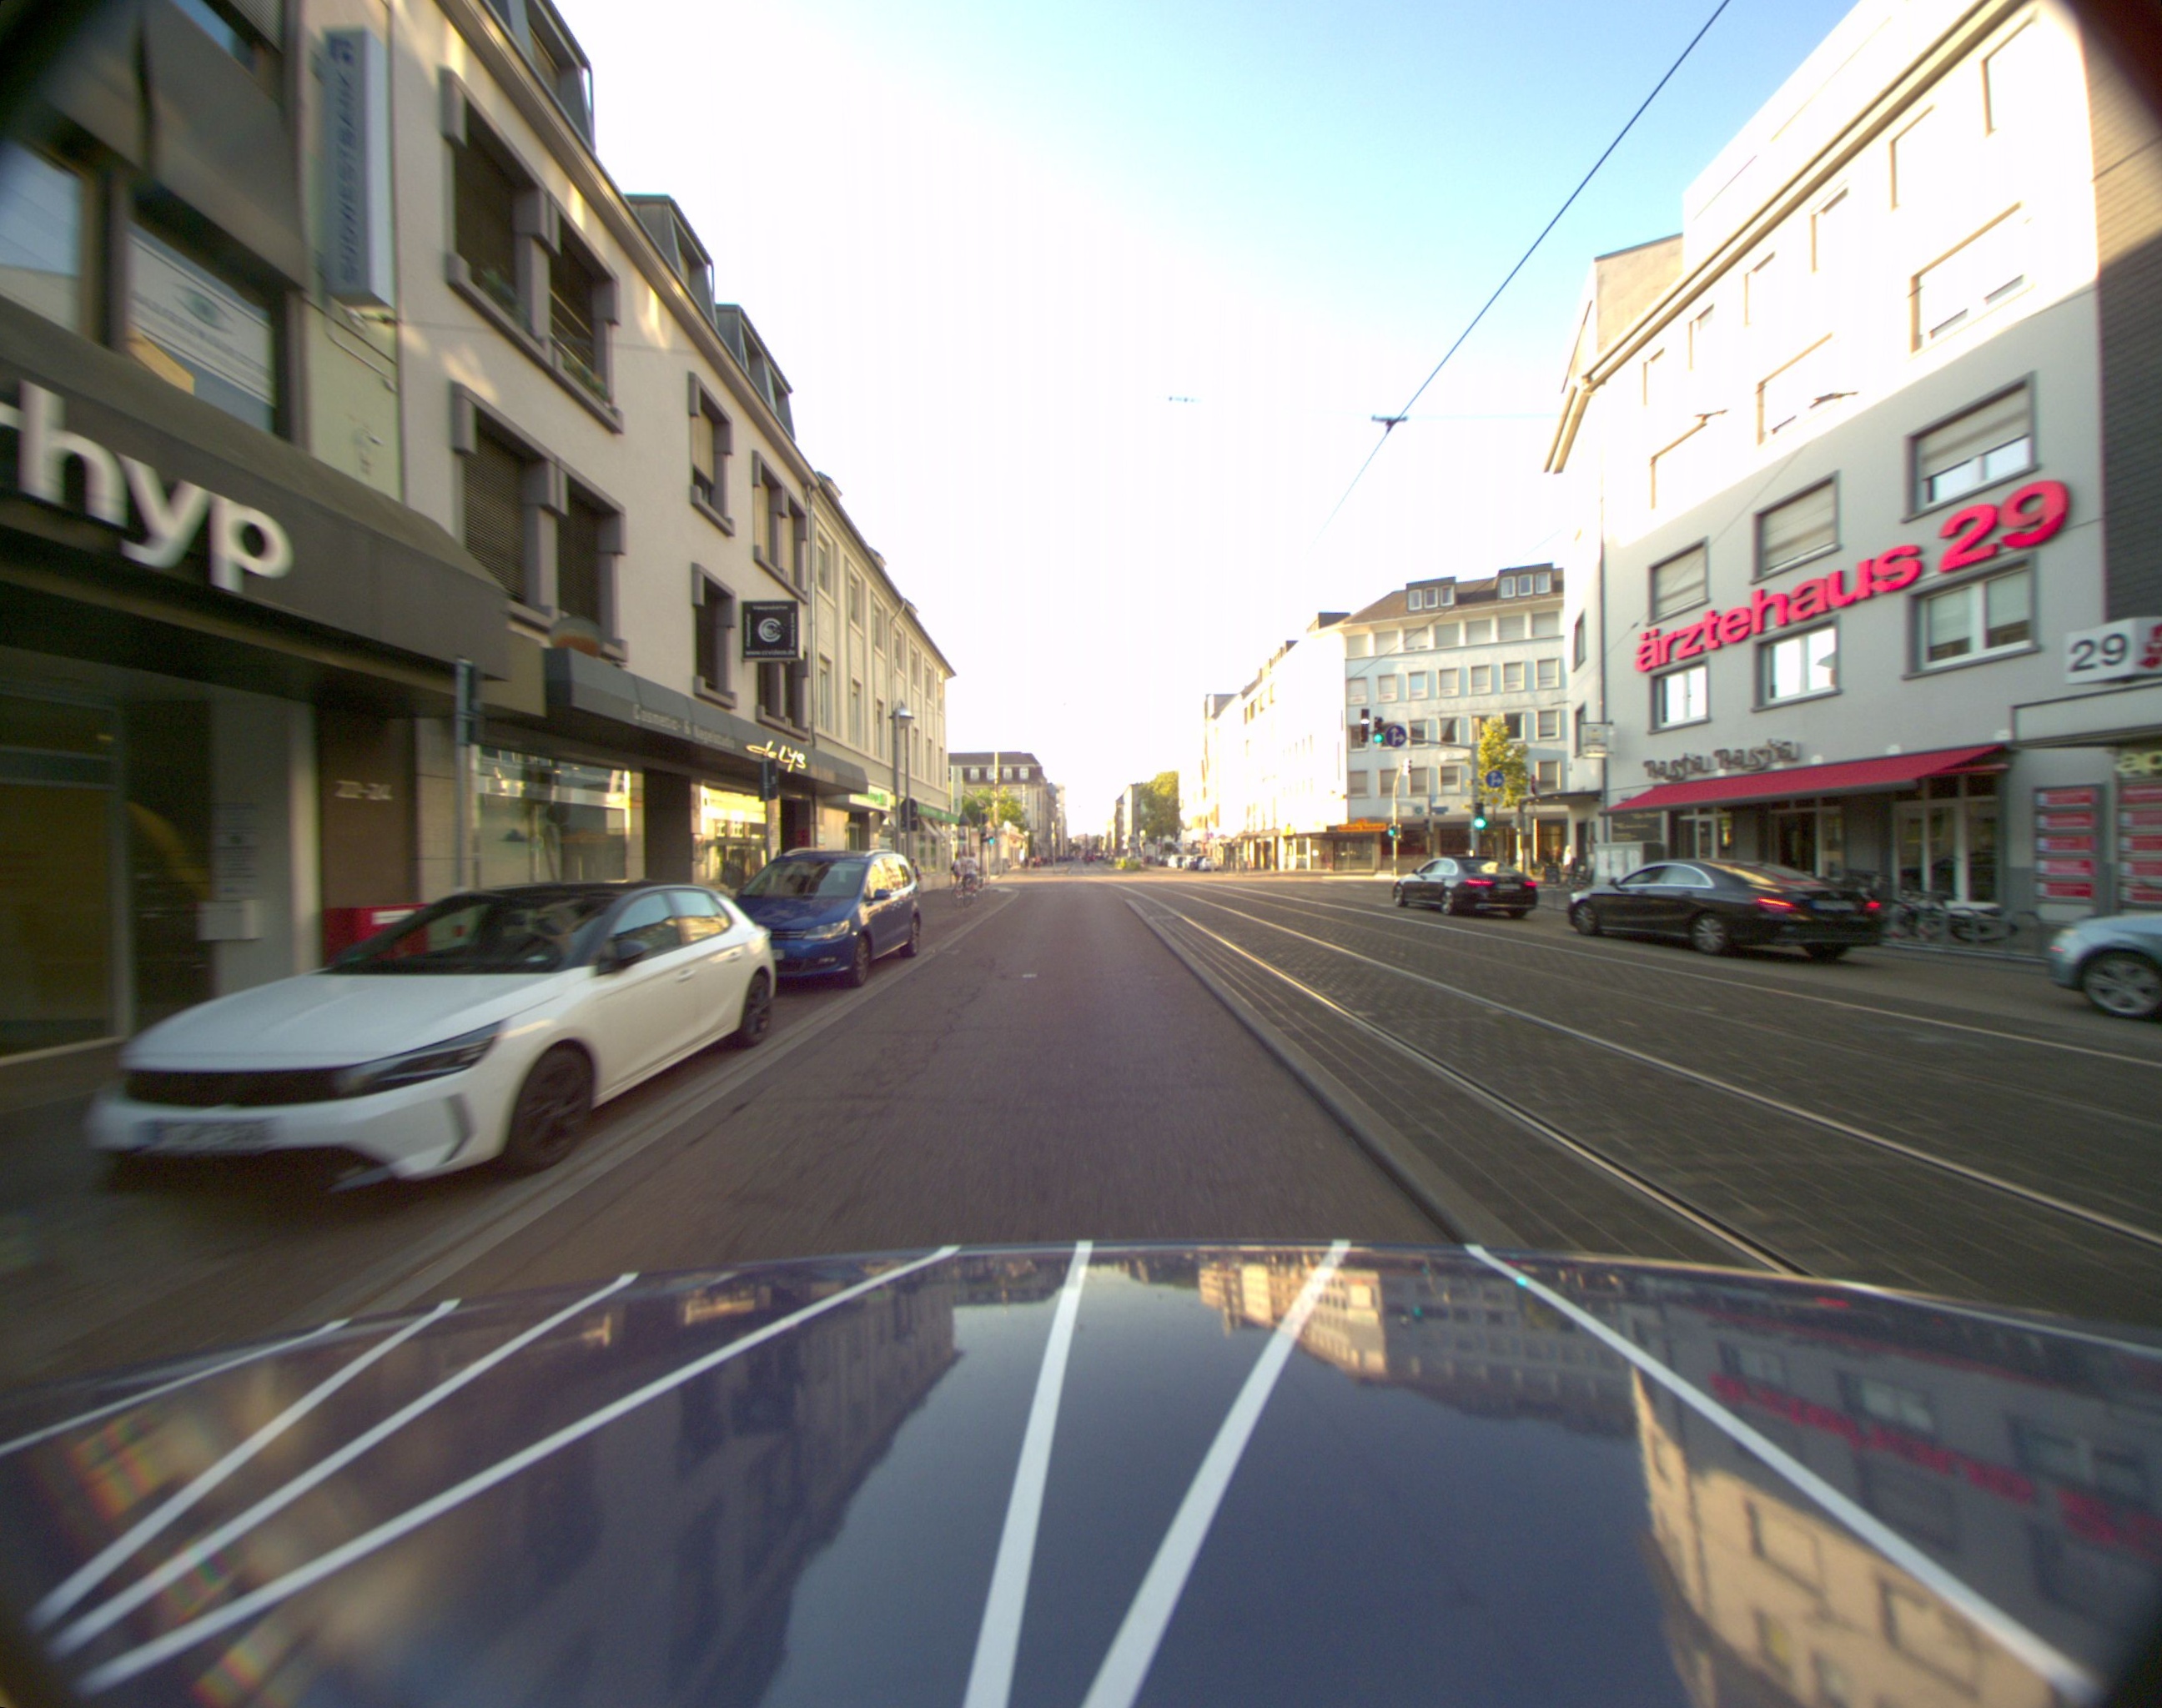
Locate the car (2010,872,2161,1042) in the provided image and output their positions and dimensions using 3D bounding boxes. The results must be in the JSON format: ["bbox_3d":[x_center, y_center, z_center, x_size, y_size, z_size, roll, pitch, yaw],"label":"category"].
[{"bbox_3d":[9.811,0.886,5.269,1.762,1.378,4.061,1,0,1],"label":"car"}]

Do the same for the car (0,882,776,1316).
[{"bbox_3d":[-3.610,1.014,4.836,1.770,1.476,3.872,1,0,0],"label":"car"}]

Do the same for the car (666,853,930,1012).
[{"bbox_3d":[-3.564,0.861,10.627,1.919,1.707,4.563,1,0,1],"label":"car"}]

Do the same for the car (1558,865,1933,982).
[{"bbox_3d":[9.899,0.912,11.962,1.919,1.378,4.563,1,0,1],"label":"car"}]

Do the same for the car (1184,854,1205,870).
[{"bbox_3d":[12.391,0.842,82.992,1.847,1.625,4.001,-1,0,3],"label":"car"}]

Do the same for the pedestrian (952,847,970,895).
[{"bbox_3d":[-4.833,0.687,30.596,0.640,1.917,0.529,-1,1,-12],"label":"pedestrian"}]

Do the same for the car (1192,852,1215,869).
[{"bbox_3d":[12.259,0.662,76.230,1.847,1.625,4.001,-1,0,3],"label":"car"}]

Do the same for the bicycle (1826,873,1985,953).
[{"bbox_3d":[13.316,0.938,12.296,1.861,1.128,0.607,-4,1,0],"label":"bicycle"}]

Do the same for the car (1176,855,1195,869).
[{"bbox_3d":[12.408,0.960,90.618,1.847,1.625,4.001,-1,0,3],"label":"car"}]

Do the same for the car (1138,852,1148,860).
[{"bbox_3d":[12.621,0.379,155.432,1.847,1.625,4.001,-1,0,3],"label":"car"}]

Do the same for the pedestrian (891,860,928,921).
[{"bbox_3d":[-4.446,0.936,19.766,0.699,1.539,0.870,-1,1,2],"label":"pedestrian"}]

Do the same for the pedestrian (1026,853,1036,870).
[{"bbox_3d":[-4.986,0.762,75.657,0.806,1.603,0.993,-2,1,0],"label":"pedestrian"}]

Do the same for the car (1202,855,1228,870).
[{"bbox_3d":[12.630,0.806,71.811,1.847,1.287,4.001,-1,0,3],"label":"car"}]

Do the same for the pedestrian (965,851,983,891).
[{"bbox_3d":[-4.745,0.743,33.769,0.671,1.768,0.647,-1,1,1],"label":"pedestrian"}]

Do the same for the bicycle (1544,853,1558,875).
[{"bbox_3d":[26.236,0.550,42.465,0.469,1.196,1.922,-1,0,26],"label":"bicycle"}]

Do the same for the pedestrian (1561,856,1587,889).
[{"bbox_3d":[28.350,1.056,43.715,0.808,1.876,0.991,-3,2,-38],"label":"pedestrian"}]

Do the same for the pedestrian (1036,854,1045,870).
[{"bbox_3d":[-4.019,0.790,75.648,0.806,1.603,0.993,-2,1,0],"label":"pedestrian"}]

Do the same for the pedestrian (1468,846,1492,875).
[{"bbox_3d":[23.741,0.393,45.182,0.808,1.716,0.991,-3,2,-38],"label":"pedestrian"}]

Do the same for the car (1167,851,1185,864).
[{"bbox_3d":[11.964,0.423,96.022,1.847,1.625,4.001,-1,0,3],"label":"car"}]

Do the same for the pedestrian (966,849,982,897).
[{"bbox_3d":[-4.241,0.747,30.198,0.576,1.917,0.496,-1,1,-11],"label":"pedestrian"}]

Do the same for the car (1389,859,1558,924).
[{"bbox_3d":[9.644,0.841,19.161,1.919,1.378,4.563,1,0,1],"label":"car"}]

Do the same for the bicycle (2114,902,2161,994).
[{"bbox_3d":[13.181,1.038,8.751,1.861,0.978,0.492,-4,1,0],"label":"bicycle"}]

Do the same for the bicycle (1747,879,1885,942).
[{"bbox_3d":[13.243,1.008,13.718,1.861,0.978,0.607,-4,1,0],"label":"bicycle"}]

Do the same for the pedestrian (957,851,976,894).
[{"bbox_3d":[-4.738,0.762,31.519,0.639,1.735,0.699,-1,1,2],"label":"pedestrian"}]

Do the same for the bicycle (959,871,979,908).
[{"bbox_3d":[-3.594,1.118,24.437,0.479,1.083,1.647,1,1,-3],"label":"bicycle"}]

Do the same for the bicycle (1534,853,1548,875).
[{"bbox_3d":[25.724,0.547,42.528,0.469,1.196,1.922,-1,0,26],"label":"bicycle"}]
